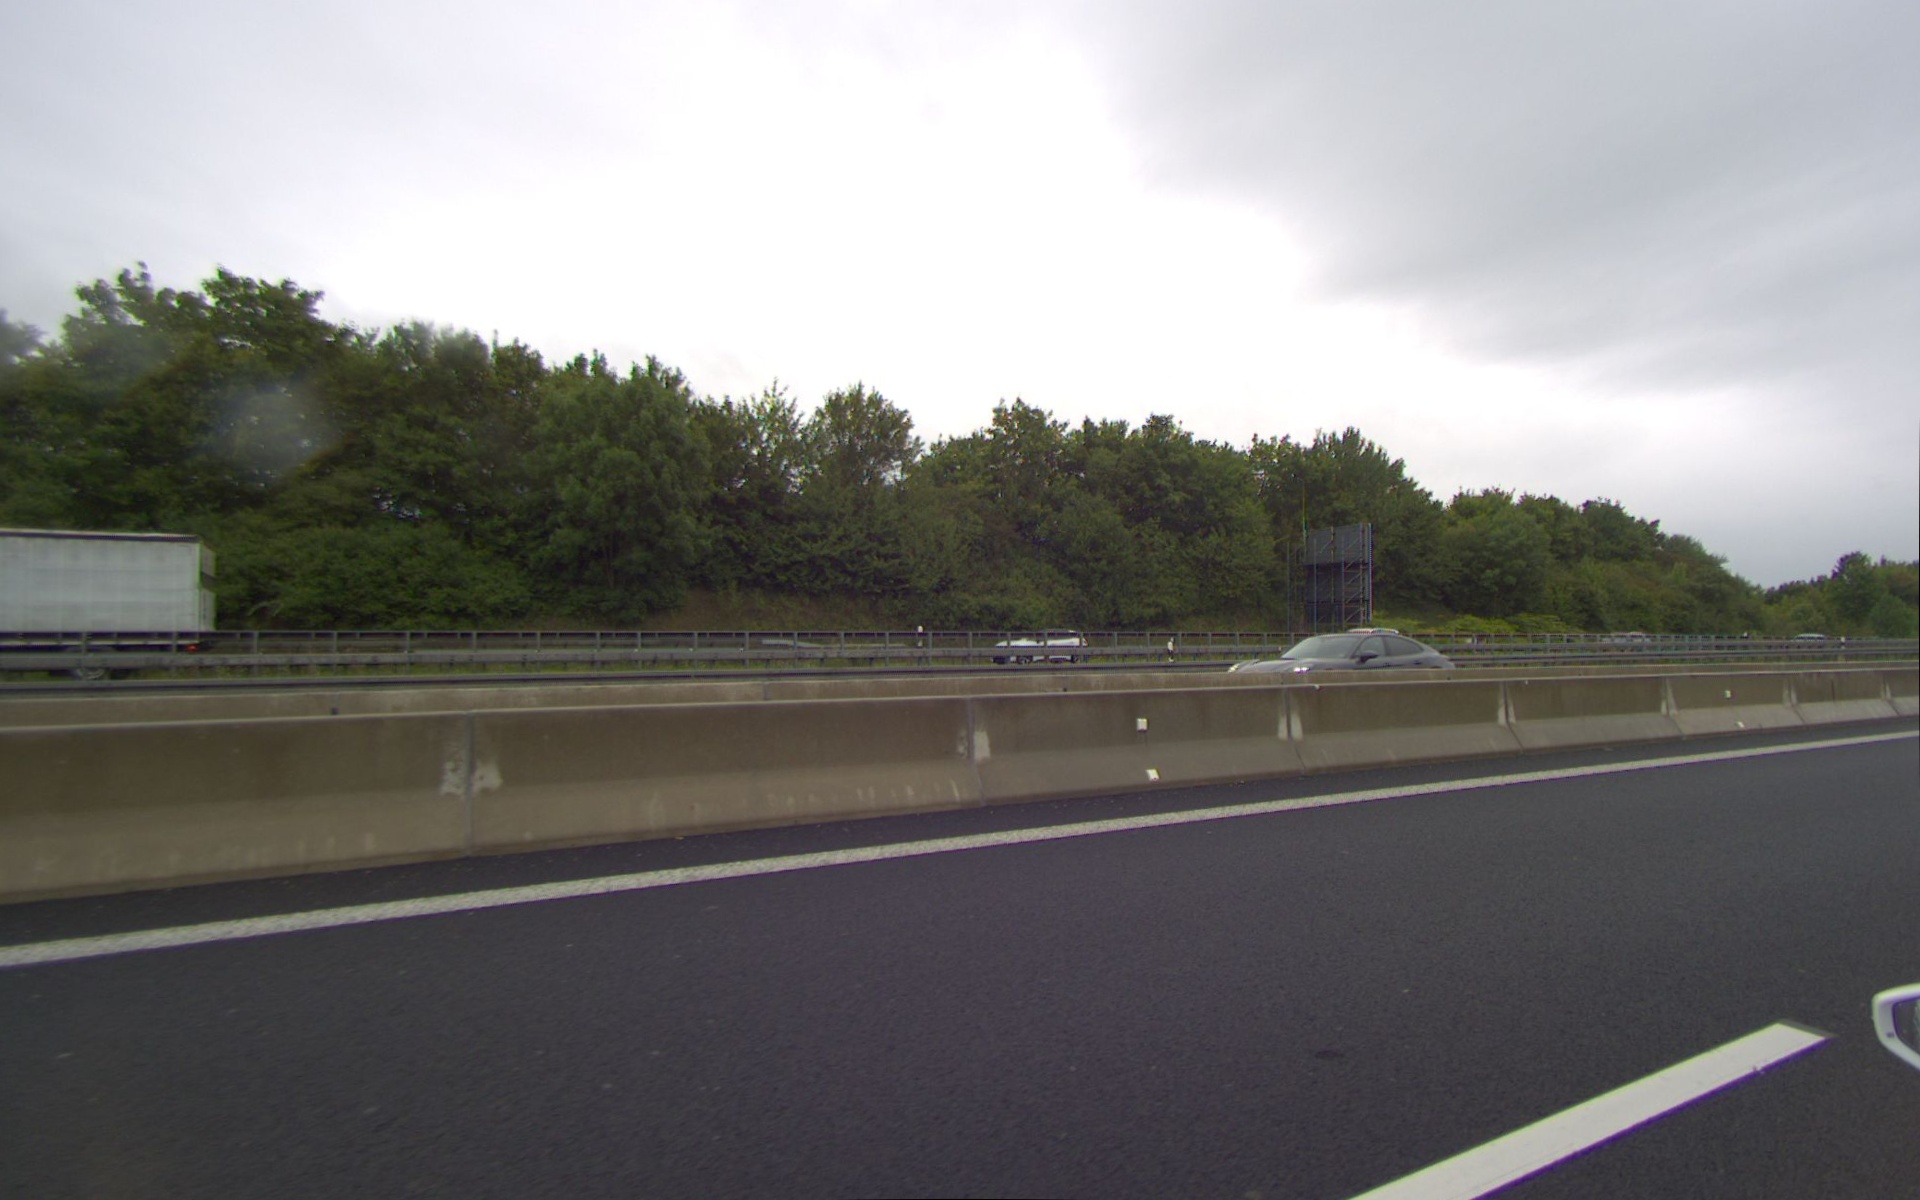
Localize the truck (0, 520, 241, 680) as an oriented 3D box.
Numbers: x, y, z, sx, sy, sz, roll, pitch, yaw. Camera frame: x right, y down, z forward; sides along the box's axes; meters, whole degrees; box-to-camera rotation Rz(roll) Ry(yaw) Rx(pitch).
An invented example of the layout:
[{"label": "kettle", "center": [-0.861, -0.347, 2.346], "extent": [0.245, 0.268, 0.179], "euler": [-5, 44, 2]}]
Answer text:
[{"label": "truck", "center": [-24.641, -0.012, 25.922], "extent": [9.520, 3.930, 3.060], "euler": [2, 0, -30]}]

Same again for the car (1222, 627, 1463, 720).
[{"label": "car", "center": [7.012, 1.282, 18.324], "extent": [4.366, 1.475, 1.748], "euler": [2, 0, -30]}]

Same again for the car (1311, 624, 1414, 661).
[{"label": "car", "center": [17.574, 1.856, 43.801], "extent": [4.578, 1.475, 1.668], "euler": [2, 0, -30]}]

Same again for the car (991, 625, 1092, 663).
[{"label": "car", "center": [3.415, 1.852, 42.003], "extent": [3.953, 1.475, 1.668], "euler": [2, 0, -30]}]
